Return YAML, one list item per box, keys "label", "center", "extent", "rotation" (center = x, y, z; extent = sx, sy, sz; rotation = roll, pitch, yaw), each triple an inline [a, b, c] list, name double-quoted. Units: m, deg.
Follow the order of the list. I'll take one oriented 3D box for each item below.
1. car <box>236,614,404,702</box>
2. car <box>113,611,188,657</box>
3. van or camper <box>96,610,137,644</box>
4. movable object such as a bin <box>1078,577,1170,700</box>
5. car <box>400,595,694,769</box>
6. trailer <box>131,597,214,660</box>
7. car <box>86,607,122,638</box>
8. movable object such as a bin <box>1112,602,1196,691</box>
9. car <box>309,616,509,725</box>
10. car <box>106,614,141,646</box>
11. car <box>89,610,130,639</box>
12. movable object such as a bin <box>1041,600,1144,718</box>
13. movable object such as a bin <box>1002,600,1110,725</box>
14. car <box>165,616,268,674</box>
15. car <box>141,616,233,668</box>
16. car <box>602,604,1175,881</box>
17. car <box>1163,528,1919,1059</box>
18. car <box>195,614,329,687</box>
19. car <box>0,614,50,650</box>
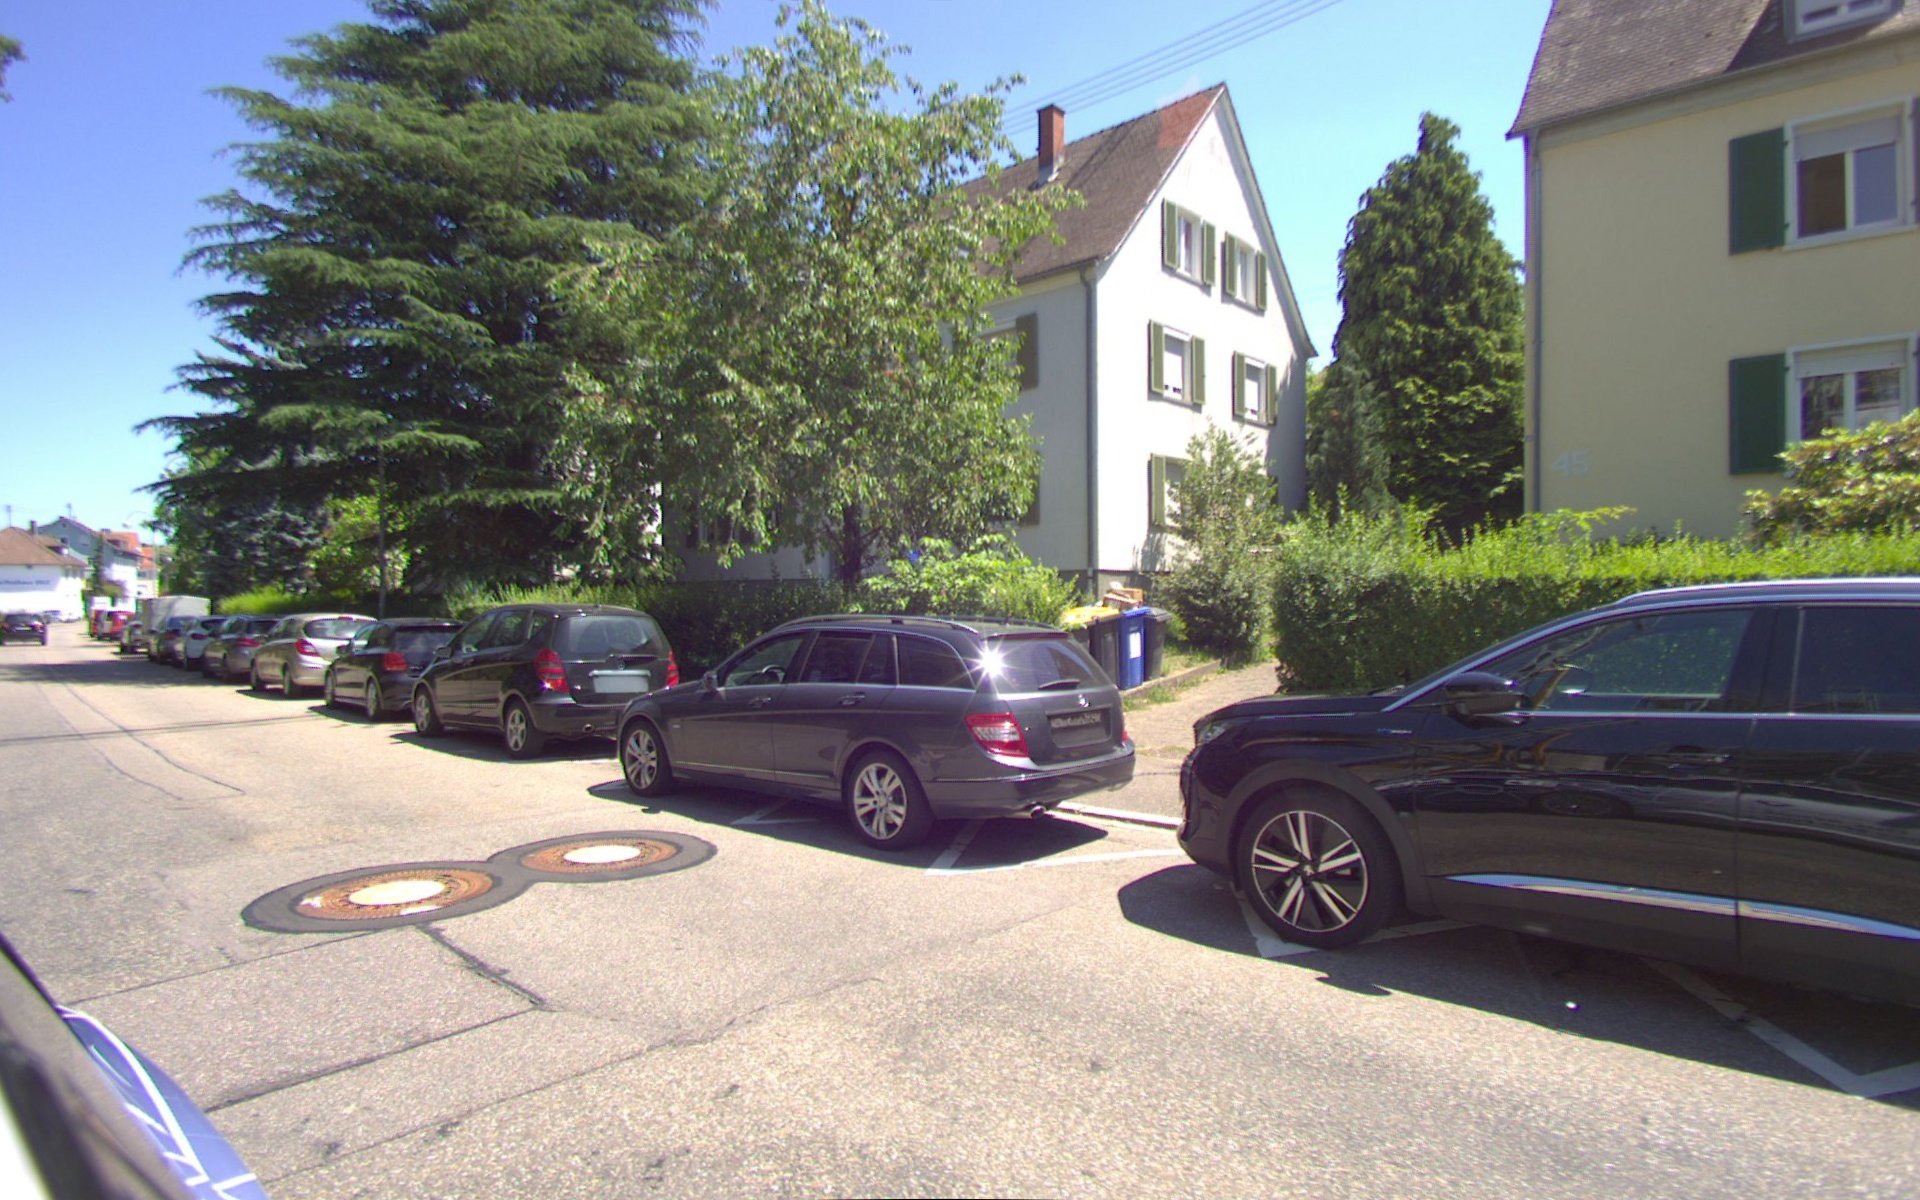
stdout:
- label: "car"
  center: [-11.871, 0.990, 18.690]
  extent: [3.786, 1.453, 1.776]
  rotation: [-1, -2, 44]
- label: "car"
  center: [-30.427, 1.256, 37.995]
  extent: [1.748, 1.631, 4.552]
  rotation: [2, -2, -44]
- label: "van or camper"
  center: [-46.750, 1.475, 56.062]
  extent: [1.560, 1.784, 3.893]
  rotation: [1, -1, -42]
- label: "movable object such as a bin"
  center: [2.037, 0.468, 12.590]
  extent: [0.917, 1.464, 0.650]
  rotation: [-1, -1, 41]
- label: "car"
  center: [-4.801, 0.812, 11.523]
  extent: [3.790, 1.652, 1.662]
  rotation: [-1, -2, 43]
- label: "trailer"
  center: [-27.327, 0.980, 35.070]
  extent: [1.793, 2.049, 4.003]
  rotation: [2, -2, -44]
- label: "car"
  center: [-62.348, 1.636, 73.708]
  extent: [1.865, 2.131, 4.004]
  rotation: [2, -2, -41]
- label: "movable object such as a bin"
  center: [2.490, 0.584, 13.011]
  extent: [0.852, 1.093, 0.650]
  rotation: [-1, -1, 41]
- label: "car"
  center: [-8.281, 0.950, 15.065]
  extent: [1.661, 1.412, 3.793]
  rotation: [2, -2, -44]
- label: "car"
  center: [-43.338, 1.541, 52.403]
  extent: [1.289, 1.589, 2.324]
  rotation: [1, -1, -42]
- label: "car"
  center: [-53.258, 1.523, 63.336]
  extent: [1.865, 1.772, 3.617]
  rotation: [2, -2, -41]
- label: "movable object such as a bin"
  center: [1.574, 0.675, 12.066]
  extent: [0.963, 1.342, 0.745]
  rotation: [-1, -1, 41]
- label: "movable object such as a bin"
  center: [1.085, 0.683, 11.479]
  extent: [0.963, 1.342, 0.745]
  rotation: [-1, -1, 41]
- label: "car"
  center: [-20.049, 1.158, 27.239]
  extent: [1.775, 1.453, 3.900]
  rotation: [1, -2, -43]
- label: "car"
  center: [-23.486, 1.208, 30.682]
  extent: [1.775, 1.453, 4.481]
  rotation: [1, -2, -43]
- label: "car"
  center: [-0.744, 0.797, 7.495]
  extent: [4.328, 1.487, 1.664]
  rotation: [-1, -2, 41]
- label: "car"
  center: [3.153, 0.620, 4.110]
  extent: [4.328, 1.649, 1.664]
  rotation: [-1, -2, 41]
- label: "car"
  center: [-15.546, 1.052, 22.458]
  extent: [1.775, 1.453, 4.276]
  rotation: [2, -2, -44]
- label: "car"
  center: [-44.012, 1.452, 47.374]
  extent: [4.143, 1.586, 1.878]
  rotation: [-1, -1, 44]
